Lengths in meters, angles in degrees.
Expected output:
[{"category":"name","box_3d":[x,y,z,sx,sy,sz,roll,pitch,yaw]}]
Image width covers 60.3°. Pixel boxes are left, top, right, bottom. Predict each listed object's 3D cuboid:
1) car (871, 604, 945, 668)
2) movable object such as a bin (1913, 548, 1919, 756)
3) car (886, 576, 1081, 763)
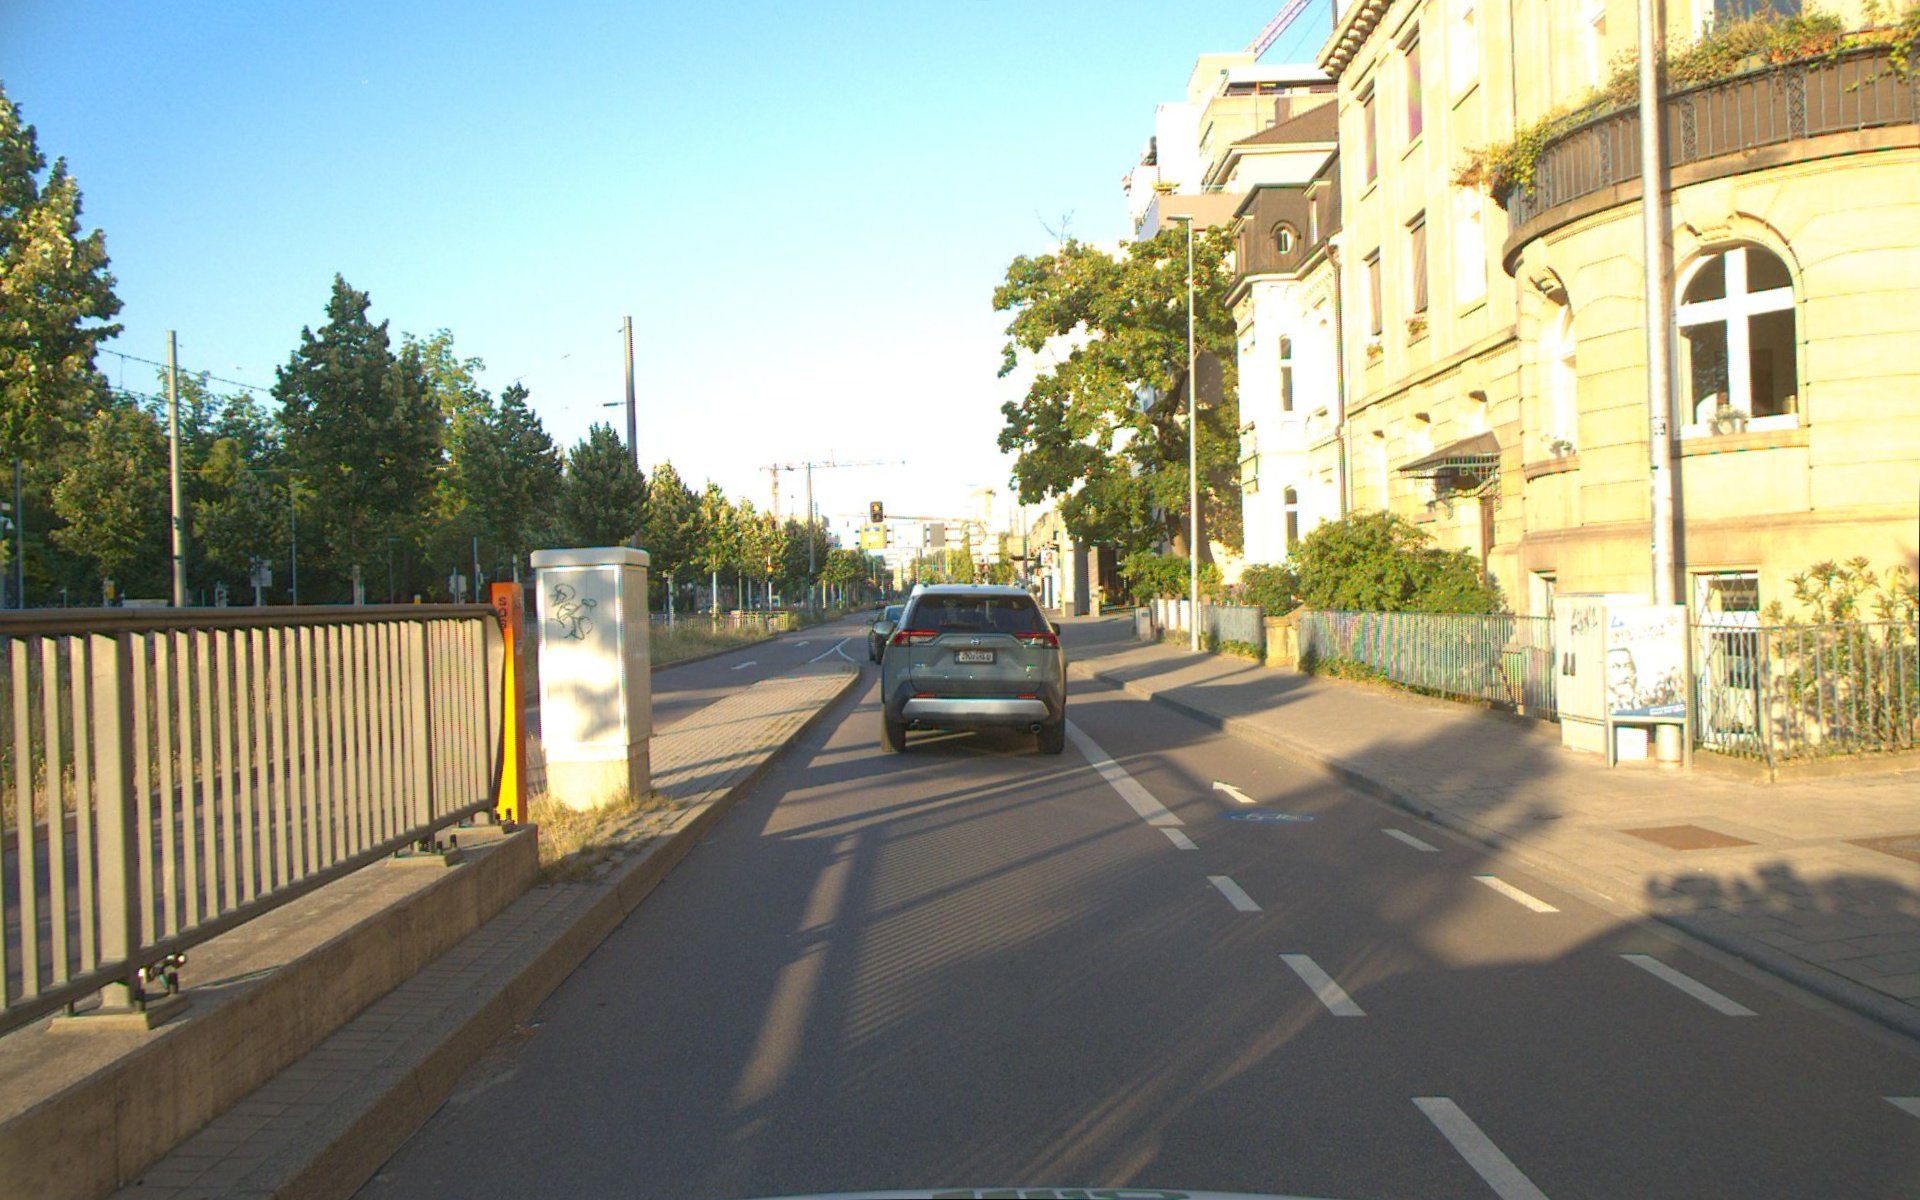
[{"category":"car","box_3d":[-1.374,0.900,42.829,1.820,1.578,4.107,0,0,-2]},{"category":"movable object such as a bin","box_3d":[7.516,0.360,11.377,1.235,1.487,1.123,-1,0,-4]},{"category":"car","box_3d":[0.137,0.650,17.515,1.820,1.744,4.190,0,0,-2]}]
